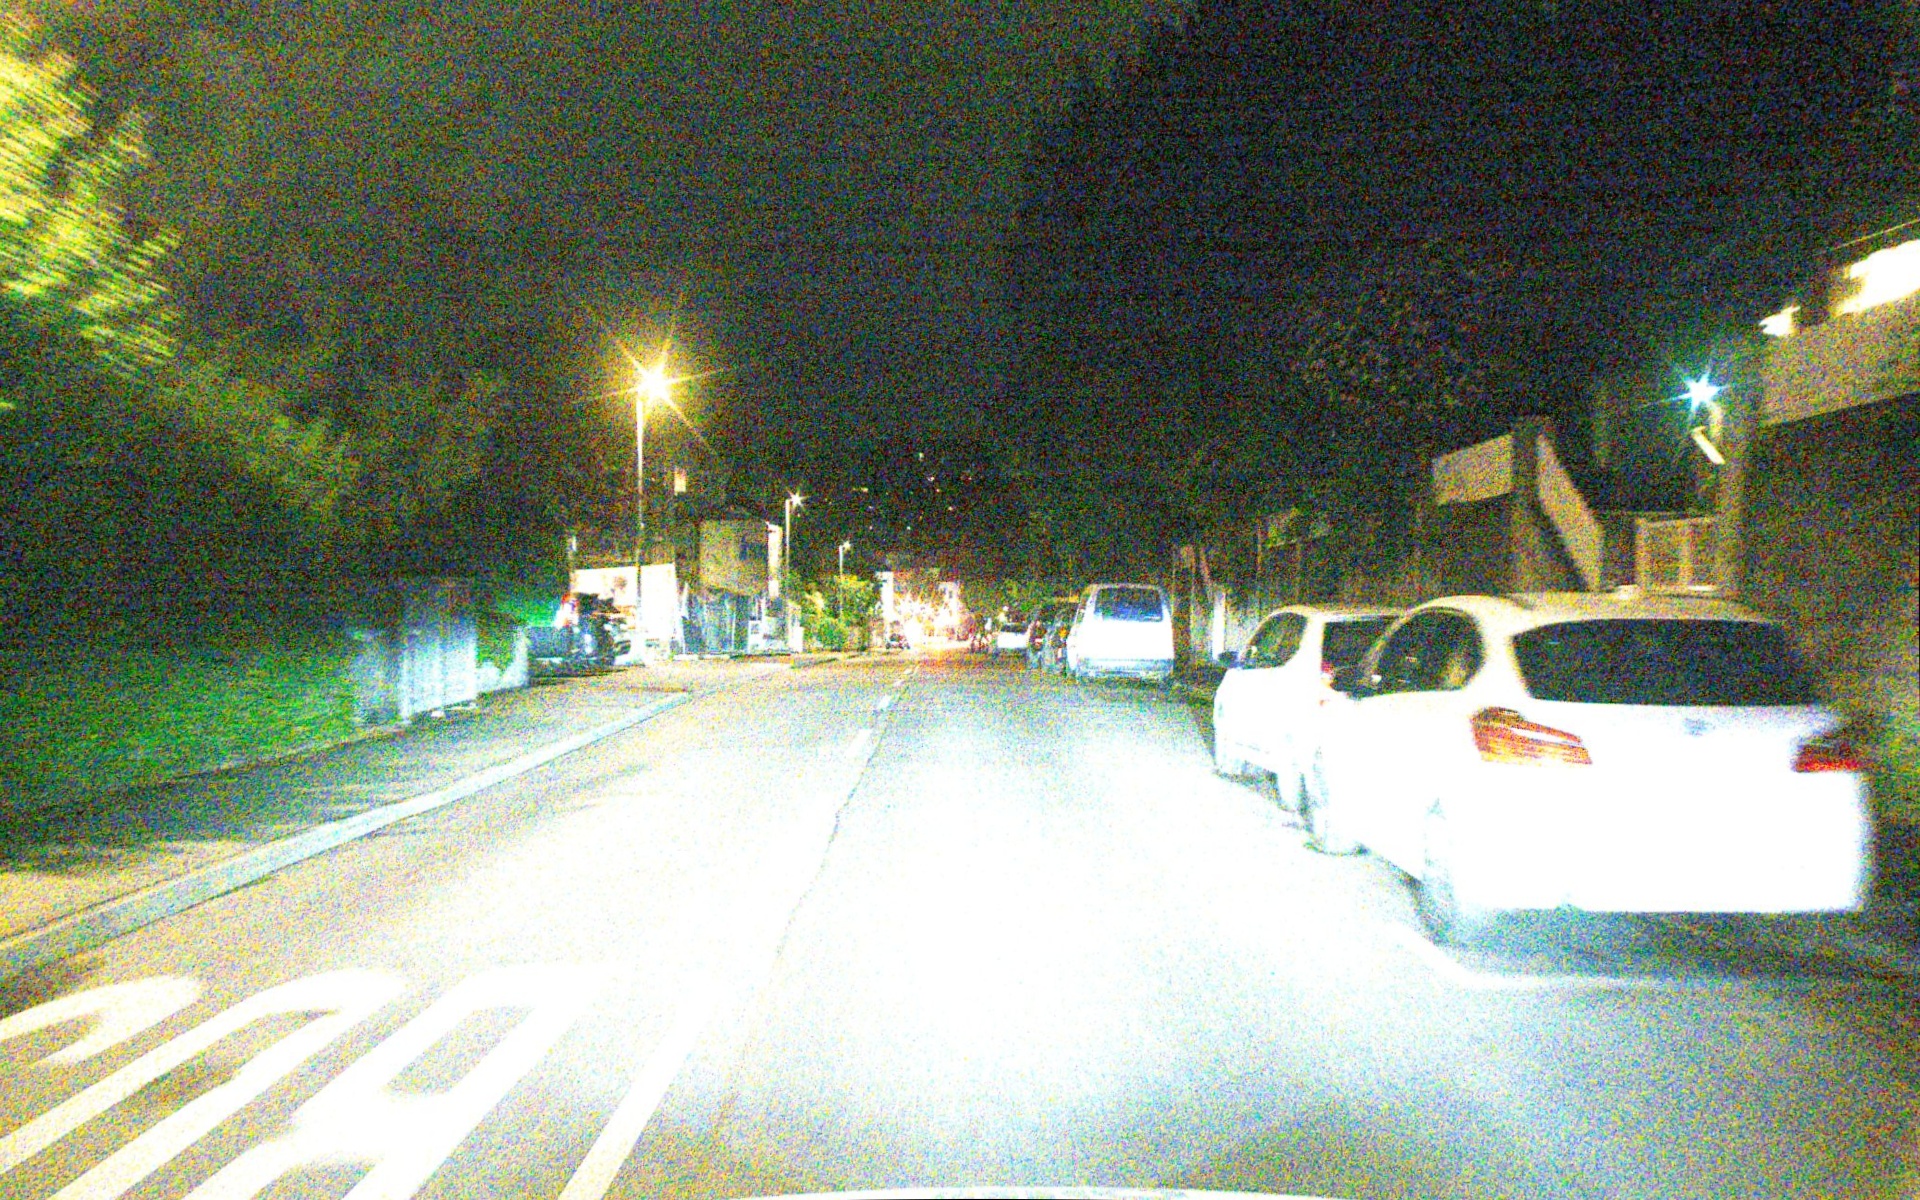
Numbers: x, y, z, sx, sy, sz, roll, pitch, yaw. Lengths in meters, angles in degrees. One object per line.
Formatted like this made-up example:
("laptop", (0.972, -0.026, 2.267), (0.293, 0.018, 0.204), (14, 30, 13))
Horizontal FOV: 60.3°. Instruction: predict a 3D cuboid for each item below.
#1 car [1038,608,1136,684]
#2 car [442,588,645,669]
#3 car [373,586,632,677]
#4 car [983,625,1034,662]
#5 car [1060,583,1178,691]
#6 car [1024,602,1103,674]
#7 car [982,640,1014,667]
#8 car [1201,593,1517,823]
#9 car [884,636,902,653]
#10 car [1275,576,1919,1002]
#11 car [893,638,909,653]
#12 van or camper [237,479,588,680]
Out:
("car", (2.711, 0.967, 36.109), (1.708, 1.496, 4.255), (2, -1, -1))
("car", (-8.609, 0.577, 34.436), (3.733, 1.582, 1.927), (1, 0, -1))
("car", (-8.658, 0.609, 31.607), (4.326, 1.642, 2.065), (0, -2, 0))
("car", (2.073, 1.873, 71.251), (1.728, 1.501, 4.271), (3, -2, -4))
("car", (2.859, 0.654, 30.623), (1.683, 1.792, 4.757), (2, 0, 0))
("car", (2.548, 0.969, 41.732), (1.794, 1.693, 4.619), (1, -2, 1))
("car", (2.190, 3.060, 95.205), (1.597, 1.464, 3.862), (1, -2, -2))
("car", (3.046, 0.741, 13.350), (1.576, 1.486, 3.716), (-2, 1, -1))
("car", (-6.521, 4.334, 160.966), (1.718, 1.567, 3.727), (1, -2, -4))
("car", (2.987, 0.737, 8.841), (1.719, 1.621, 4.728), (2, 0, 1))
("car", (-6.365, 4.878, 178.079), (1.718, 1.567, 3.729), (0, -2, -2))
("van or camper", (-9.071, -0.307, 27.875), (5.301, 3.165, 2.127), (1, 0, -11))
